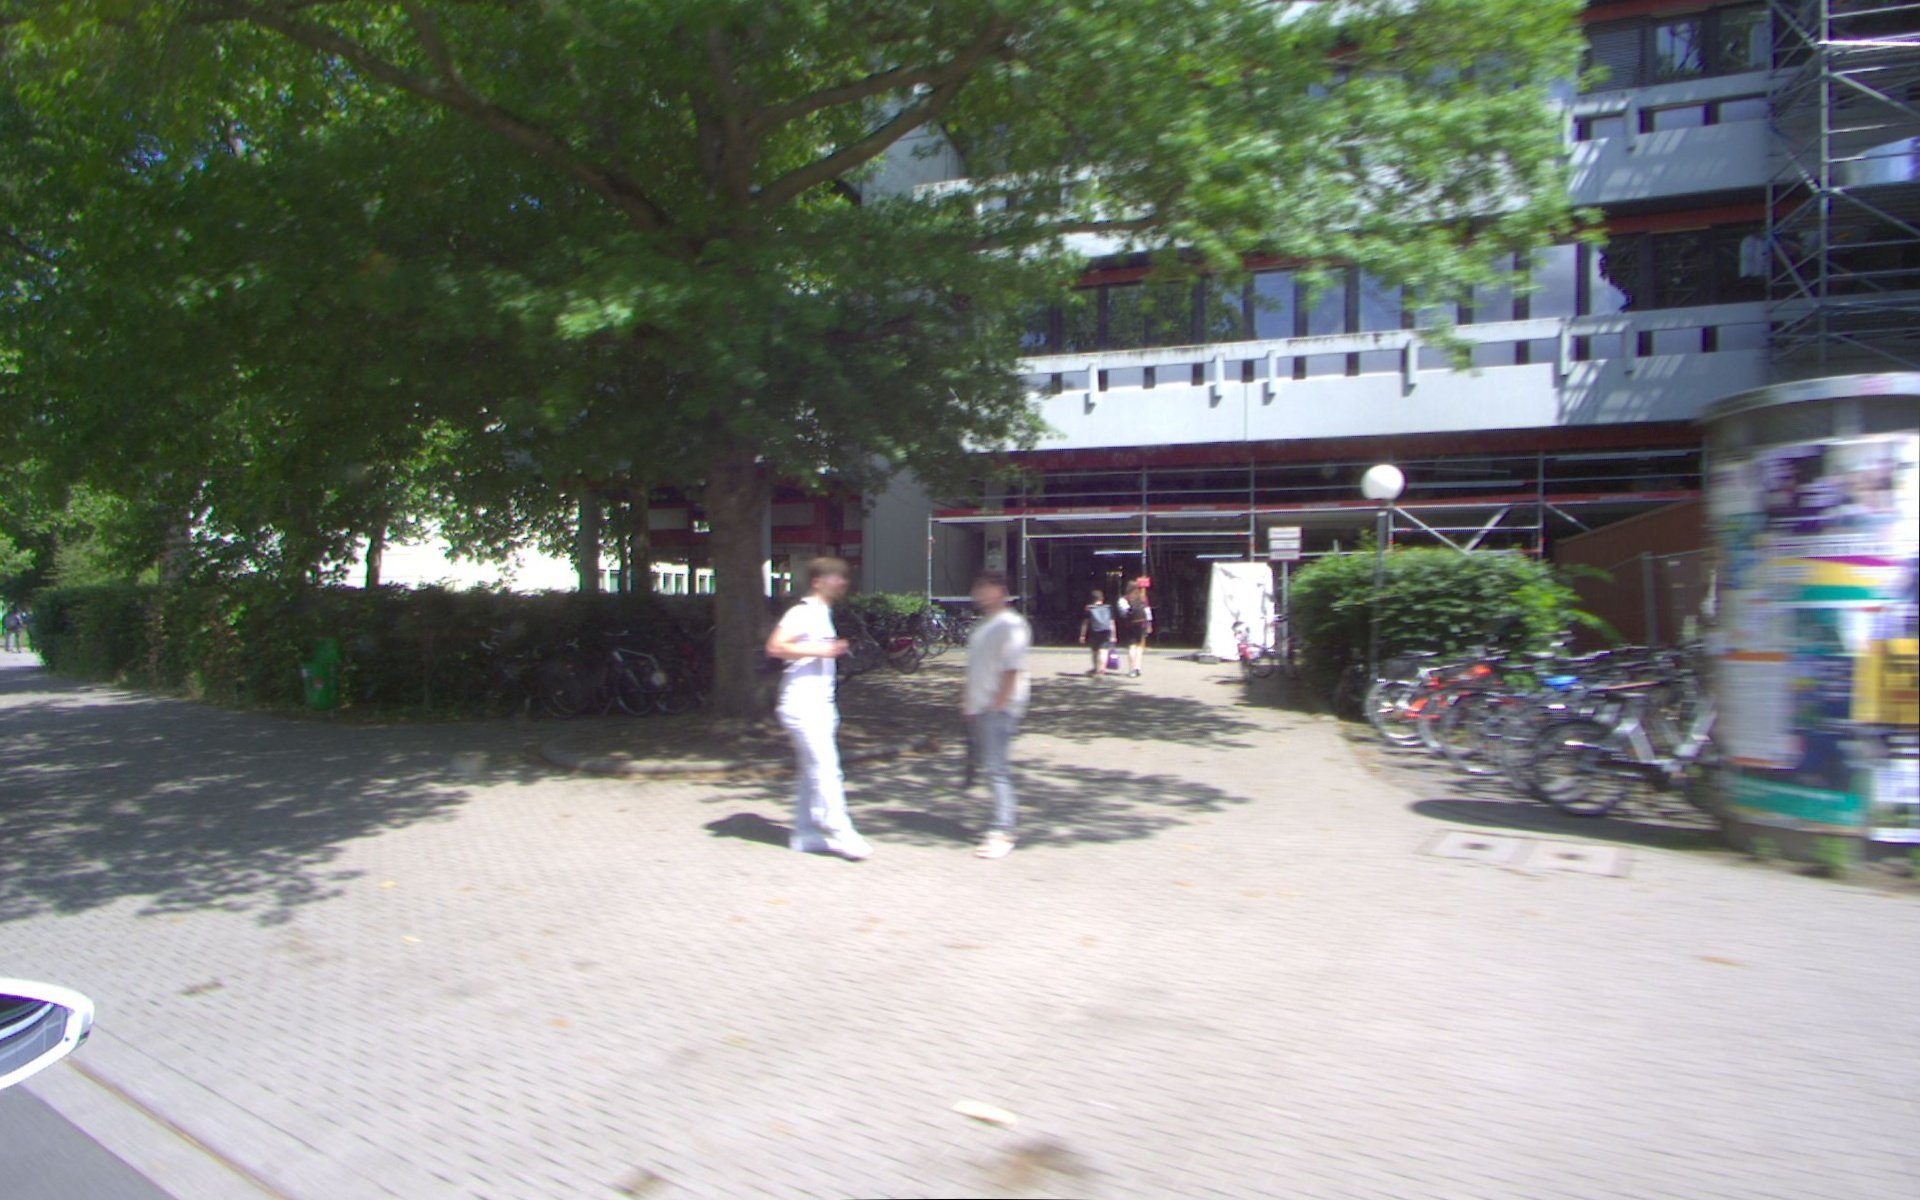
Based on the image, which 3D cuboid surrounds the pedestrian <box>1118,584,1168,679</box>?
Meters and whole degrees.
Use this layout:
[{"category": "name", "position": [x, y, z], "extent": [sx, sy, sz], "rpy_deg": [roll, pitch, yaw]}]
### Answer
[{"category": "pedestrian", "position": [3.241, 0.550, 17.823], "extent": [0.709, 1.657, 0.831], "rpy_deg": [0, 0, -2]}]

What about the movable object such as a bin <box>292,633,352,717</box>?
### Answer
[{"category": "movable object such as a bin", "position": [-8.546, 0.990, 13.412], "extent": [0.497, 1.086, 0.489], "rpy_deg": [0, 0, 26]}]

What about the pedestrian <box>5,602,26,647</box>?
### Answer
[{"category": "pedestrian", "position": [-37.413, 0.978, 39.668], "extent": [0.597, 1.778, 0.622], "rpy_deg": [0, 0, -44]}]

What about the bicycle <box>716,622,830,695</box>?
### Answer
[{"category": "bicycle", "position": [-3.023, 0.923, 16.138], "extent": [1.841, 1.133, 0.498], "rpy_deg": [0, 0, 24]}]

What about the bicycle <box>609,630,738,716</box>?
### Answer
[{"category": "bicycle", "position": [-4.002, 0.992, 13.955], "extent": [1.841, 1.133, 0.498], "rpy_deg": [0, 0, 24]}]

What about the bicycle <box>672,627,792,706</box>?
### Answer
[{"category": "bicycle", "position": [-3.440, 0.974, 15.062], "extent": [1.841, 1.133, 0.498], "rpy_deg": [0, 0, 24]}]

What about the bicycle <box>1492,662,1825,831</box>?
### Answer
[{"category": "bicycle", "position": [4.586, 0.945, 6.665], "extent": [1.774, 1.030, 0.514], "rpy_deg": [-1, 1, 8]}]

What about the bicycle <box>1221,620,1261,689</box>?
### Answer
[{"category": "bicycle", "position": [4.772, 0.889, 16.938], "extent": [0.491, 1.040, 1.867], "rpy_deg": [0, 1, 20]}]

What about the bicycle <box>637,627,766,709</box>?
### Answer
[{"category": "bicycle", "position": [-3.746, 0.956, 14.471], "extent": [1.908, 1.133, 0.498], "rpy_deg": [0, 0, 24]}]

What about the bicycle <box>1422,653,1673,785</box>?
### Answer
[{"category": "bicycle", "position": [4.965, 0.985, 8.572], "extent": [1.776, 1.030, 0.513], "rpy_deg": [-1, 1, 16]}]

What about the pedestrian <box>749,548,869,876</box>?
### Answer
[{"category": "pedestrian", "position": [-0.927, 0.636, 6.058], "extent": [0.619, 1.845, 0.722], "rpy_deg": [0, 0, -17]}]

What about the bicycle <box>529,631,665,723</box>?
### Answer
[{"category": "bicycle", "position": [-4.773, 0.980, 13.137], "extent": [1.841, 1.133, 0.498], "rpy_deg": [0, 0, 24]}]

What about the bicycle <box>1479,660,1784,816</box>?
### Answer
[{"category": "bicycle", "position": [4.783, 0.969, 7.219], "extent": [1.774, 1.030, 0.514], "rpy_deg": [-1, 1, 8]}]

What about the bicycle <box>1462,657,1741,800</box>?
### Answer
[{"category": "bicycle", "position": [4.938, 0.980, 7.793], "extent": [1.774, 1.030, 0.514], "rpy_deg": [-1, 1, 8]}]

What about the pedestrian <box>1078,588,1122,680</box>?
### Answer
[{"category": "pedestrian", "position": [2.467, 0.601, 17.712], "extent": [0.714, 1.593, 0.760], "rpy_deg": [0, 0, 3]}]

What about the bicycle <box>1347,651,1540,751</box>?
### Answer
[{"category": "bicycle", "position": [5.043, 1.047, 10.485], "extent": [1.773, 0.970, 0.514], "rpy_deg": [-1, 1, -1]}]

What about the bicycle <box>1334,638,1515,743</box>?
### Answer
[{"category": "bicycle", "position": [5.106, 0.988, 11.055], "extent": [1.773, 1.092, 0.500], "rpy_deg": [-1, 1, -1]}]

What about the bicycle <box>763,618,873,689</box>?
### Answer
[{"category": "bicycle", "position": [-2.374, 0.876, 16.689], "extent": [1.841, 1.133, 0.498], "rpy_deg": [0, 0, 24]}]

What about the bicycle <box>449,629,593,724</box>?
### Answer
[{"category": "bicycle", "position": [-5.641, 0.951, 12.864], "extent": [1.841, 1.133, 0.619], "rpy_deg": [0, 0, 24]}]

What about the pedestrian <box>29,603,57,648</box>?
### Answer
[{"category": "pedestrian", "position": [-36.720, 1.007, 40.089], "extent": [0.816, 1.778, 0.622], "rpy_deg": [0, 0, -45]}]

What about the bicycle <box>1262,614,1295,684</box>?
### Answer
[{"category": "bicycle", "position": [5.656, 0.831, 17.753], "extent": [0.491, 1.134, 1.867], "rpy_deg": [0, 1, 20]}]

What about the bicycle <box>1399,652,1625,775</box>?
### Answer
[{"category": "bicycle", "position": [5.072, 1.024, 9.316], "extent": [1.777, 1.030, 0.513], "rpy_deg": [-1, 1, 20]}]

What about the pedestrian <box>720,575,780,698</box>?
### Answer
[{"category": "pedestrian", "position": [-3.266, 0.559, 15.578], "extent": [0.749, 1.861, 0.543], "rpy_deg": [0, 0, 25]}]

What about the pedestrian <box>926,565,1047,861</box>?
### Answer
[{"category": "pedestrian", "position": [0.149, 0.670, 6.304], "extent": [0.554, 1.732, 0.744], "rpy_deg": [0, 0, -17]}]

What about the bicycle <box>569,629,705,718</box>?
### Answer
[{"category": "bicycle", "position": [-4.373, 0.969, 13.533], "extent": [1.904, 1.133, 0.498], "rpy_deg": [0, 0, 24]}]
